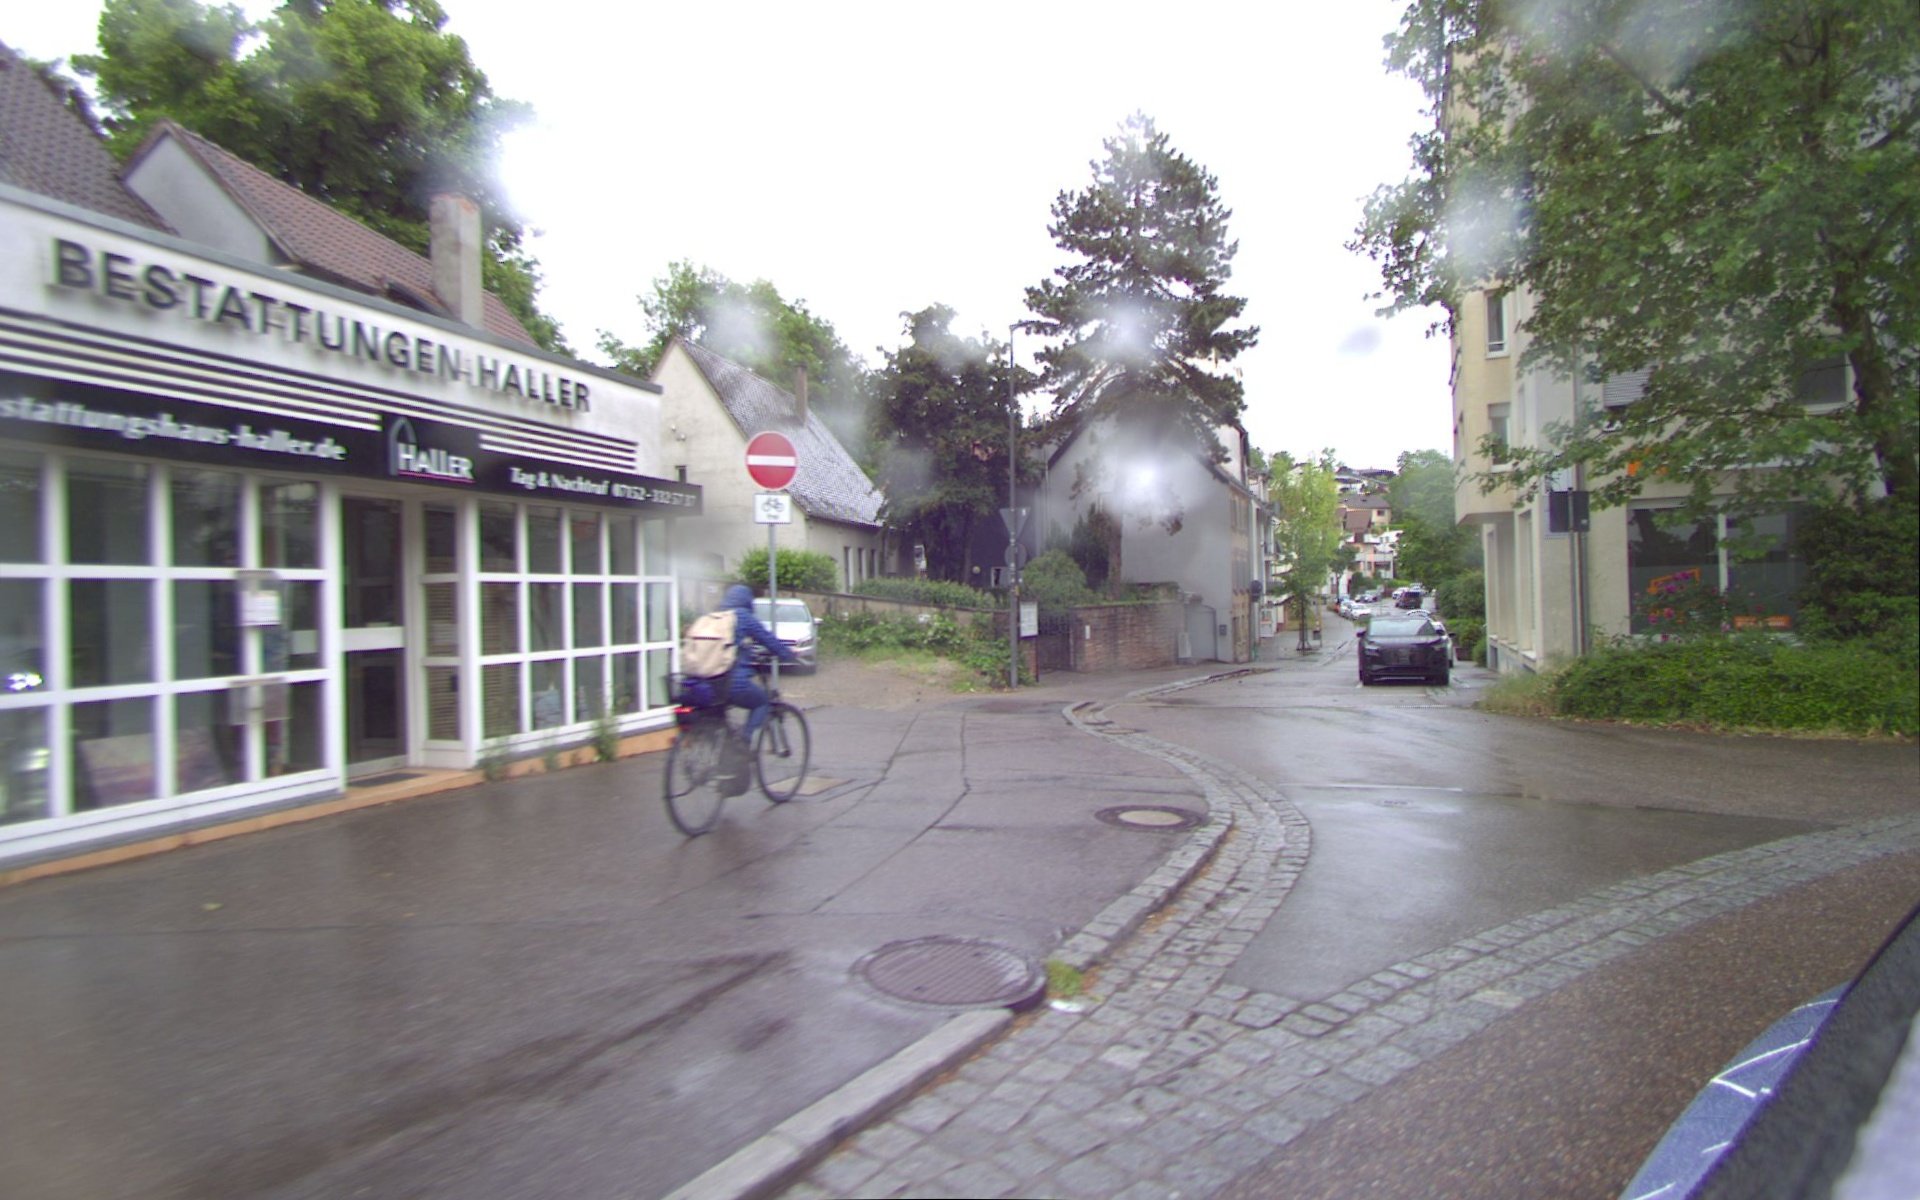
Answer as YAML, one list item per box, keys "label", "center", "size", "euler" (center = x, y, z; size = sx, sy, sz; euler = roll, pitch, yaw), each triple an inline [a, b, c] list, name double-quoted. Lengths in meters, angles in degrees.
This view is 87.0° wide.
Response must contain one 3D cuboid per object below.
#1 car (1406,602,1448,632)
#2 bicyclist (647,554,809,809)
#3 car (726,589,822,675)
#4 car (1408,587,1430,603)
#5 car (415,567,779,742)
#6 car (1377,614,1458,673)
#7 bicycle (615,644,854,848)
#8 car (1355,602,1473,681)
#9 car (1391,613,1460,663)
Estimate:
- label: "car"
  center: [25.570, 0.969, 55.425]
  size: [1.979, 1.594, 3.964]
  euler: [0, -2, 25]
- label: "bicyclist"
  center: [-1.498, 0.499, 6.673]
  size: [0.675, 1.537, 1.026]
  euler: [-1, -1, 12]
- label: "car"
  center: [-3.842, 0.595, 21.380]
  size: [1.796, 1.492, 4.007]
  euler: [1, 2, -8]
- label: "car"
  center: [49.775, -0.537, 109.766]
  size: [1.977, 1.594, 3.969]
  euler: [0, -2, 22]
- label: "car"
  center: [-4.602, 0.618, 12.988]
  size: [3.948, 1.794, 1.988]
  euler: [3, -1, 18]
- label: "car"
  center: [13.256, 1.211, 29.300]
  size: [1.979, 1.594, 3.964]
  euler: [0, -2, 25]
- label: "bicycle"
  center: [-1.406, 0.871, 6.802]
  size: [0.752, 1.048, 2.073]
  euler: [-1, 0, 13]
- label: "car"
  center: [10.733, 0.966, 23.779]
  size: [1.984, 1.672, 3.953]
  euler: [-2, -3, 32]
- label: "car"
  center: [15.805, 1.260, 34.350]
  size: [1.979, 1.594, 3.964]
  euler: [0, -2, 25]
